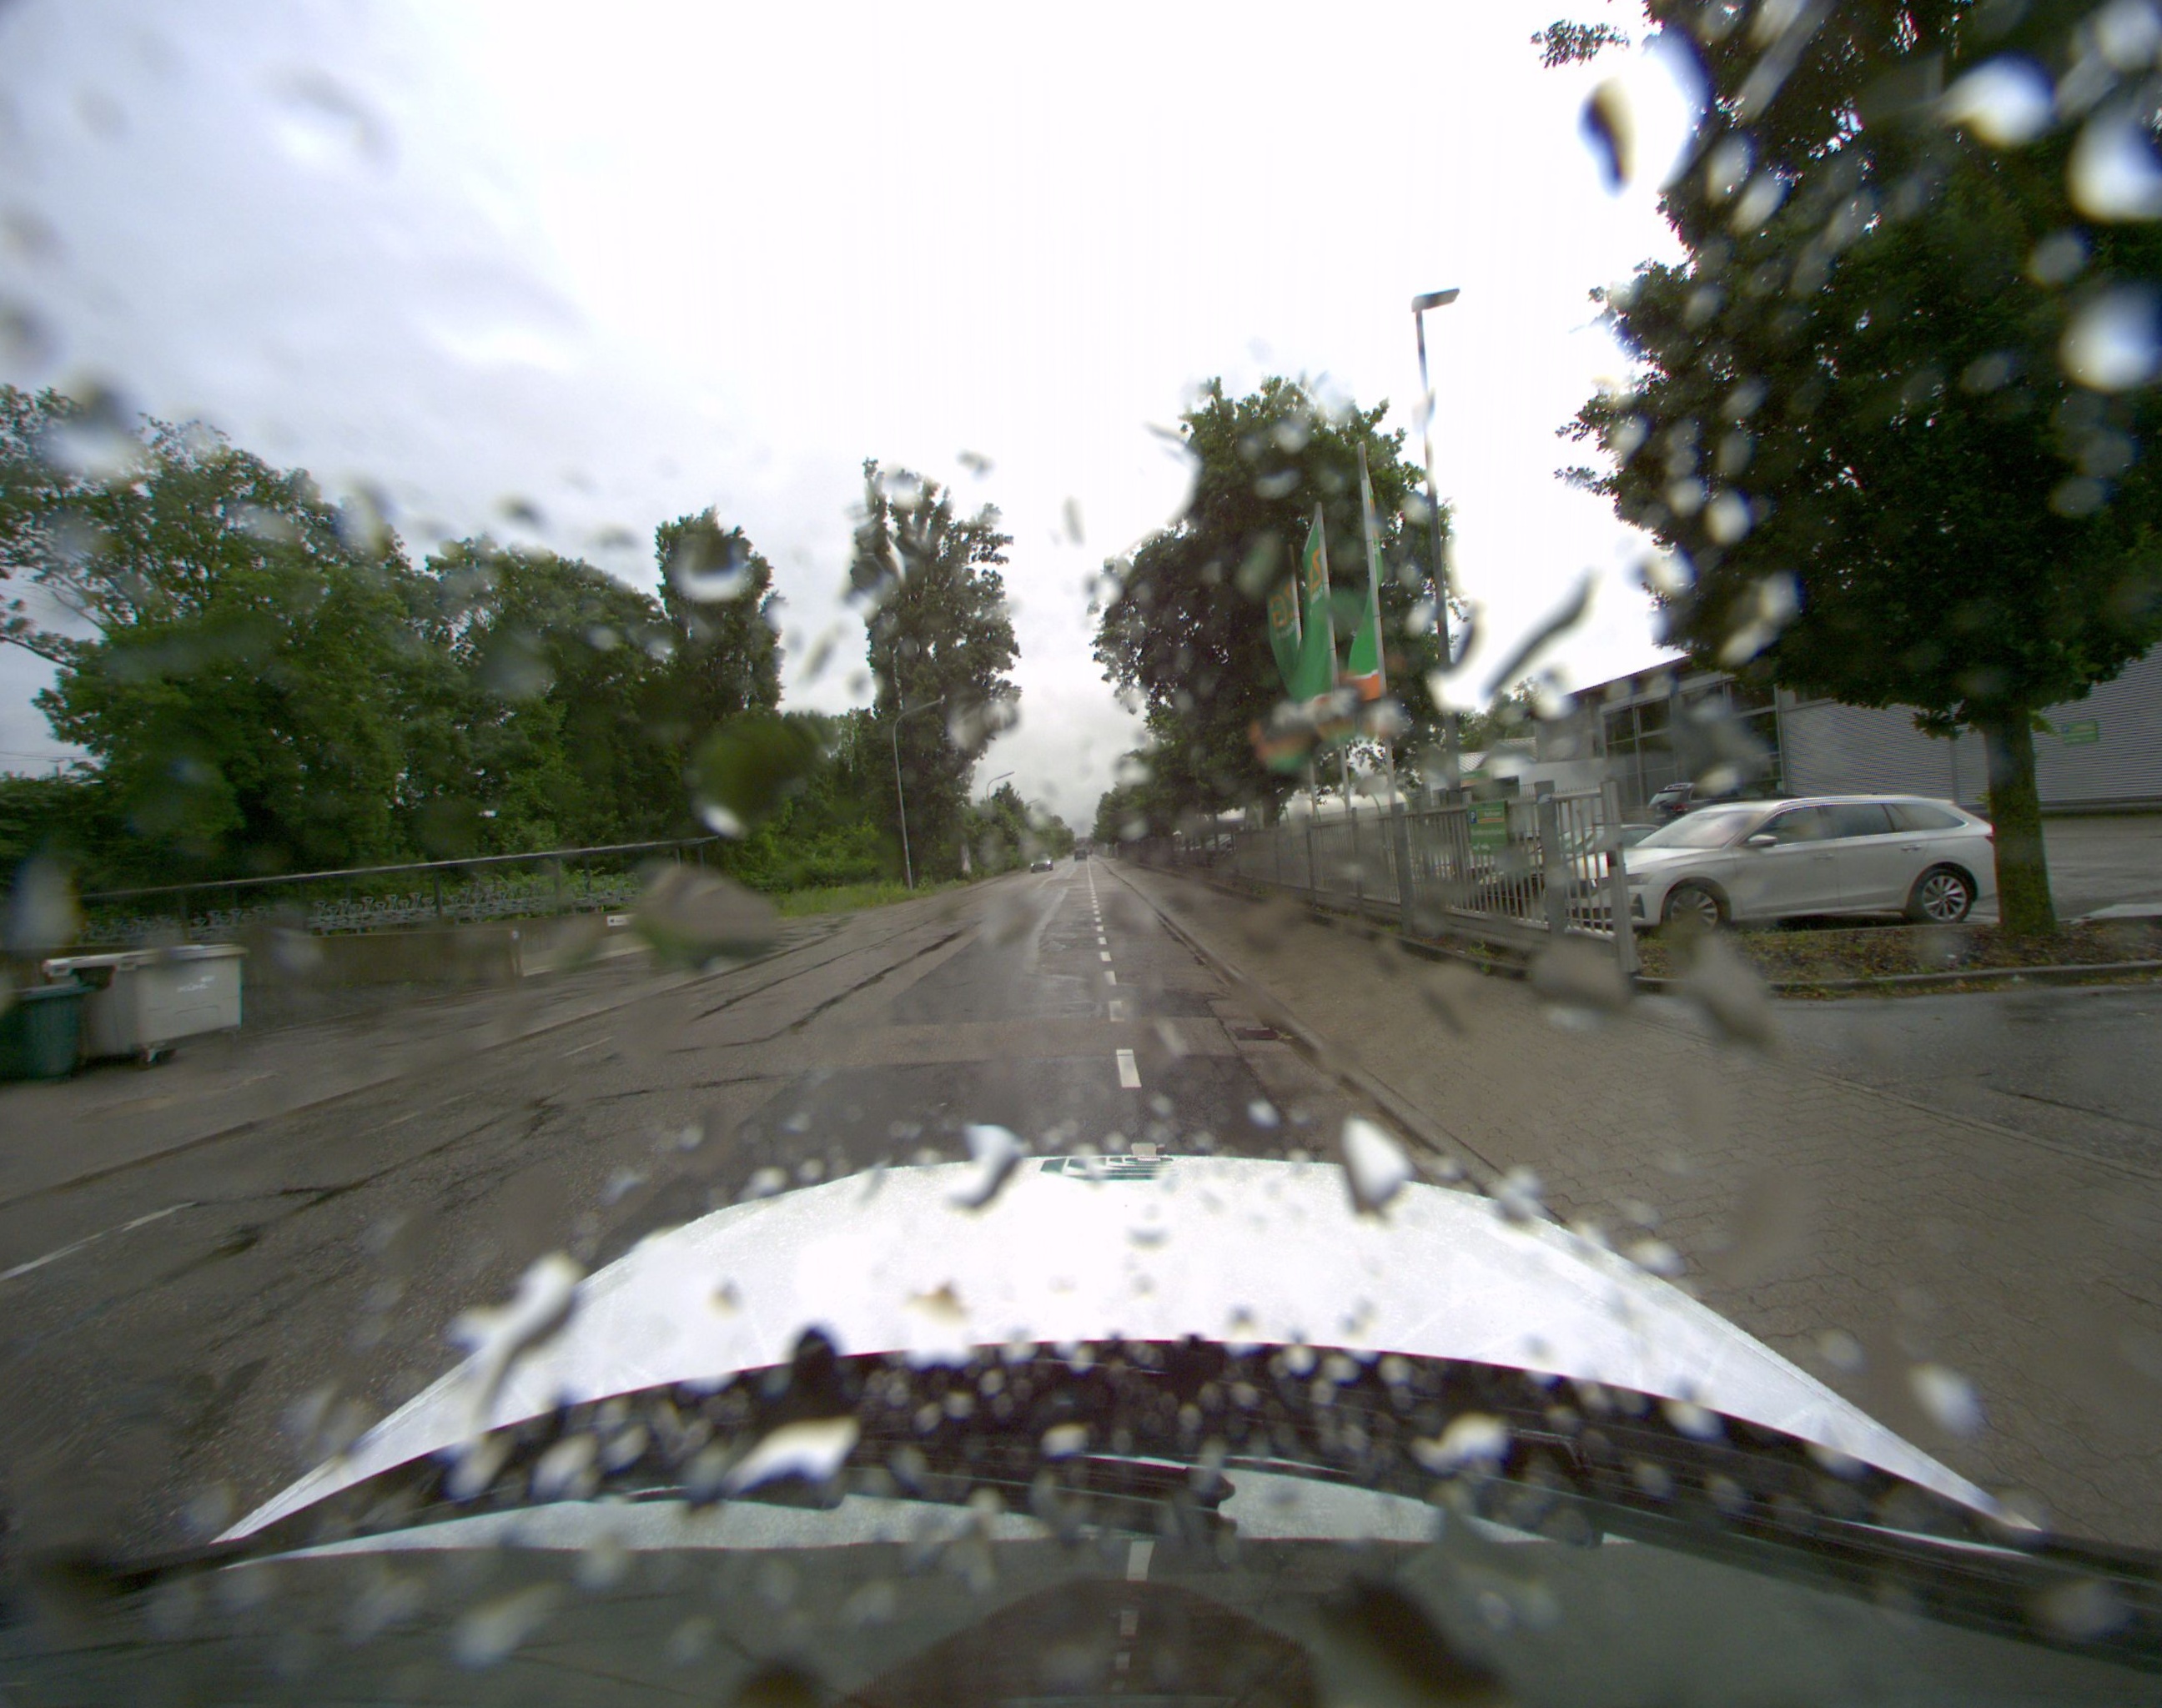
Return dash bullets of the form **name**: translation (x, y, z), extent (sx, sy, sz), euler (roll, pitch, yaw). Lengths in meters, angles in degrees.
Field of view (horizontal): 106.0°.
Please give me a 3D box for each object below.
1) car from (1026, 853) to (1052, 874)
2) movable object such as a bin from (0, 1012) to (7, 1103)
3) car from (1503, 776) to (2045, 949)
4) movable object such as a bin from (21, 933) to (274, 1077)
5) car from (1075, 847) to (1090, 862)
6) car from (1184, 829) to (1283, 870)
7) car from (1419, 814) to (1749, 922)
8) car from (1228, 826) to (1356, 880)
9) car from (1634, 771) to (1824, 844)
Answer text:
- **car**: translation (-3.551, 0.790, 69.850), extent (1.727, 1.450, 4.382), euler (-8, 0, 1)
- **movable object such as a bin**: translation (-10.769, 1.686, 7.018), extent (1.362, 1.308, 1.456), euler (-5, 0, 22)
- **car**: translation (7.767, 0.082, 9.470), extent (4.690, 1.462, 1.889), euler (-4, 0, -2)
- **movable object such as a bin**: translation (-10.830, 1.705, 9.543), extent (1.292, 1.332, 1.358), euler (-5, 0, -1)
- **car**: translation (0.263, 0.075, 121.056), extent (1.988, 1.910, 4.199), euler (-5, -1, 0)
- **car**: translation (7.290, -0.215, 39.122), extent (4.205, 1.618, 1.819), euler (-5, 0, -7)
- **car**: translation (7.413, 0.197, 12.251), extent (3.927, 1.256, 1.618), euler (-4, 0, -2)
- **car**: translation (7.778, -0.042, 30.351), extent (4.196, 1.600, 1.823), euler (-5, 0, -1)
- **car**: translation (20.830, -1.455, 26.337), extent (4.346, 1.832, 2.064), euler (-5, 0, 1)
